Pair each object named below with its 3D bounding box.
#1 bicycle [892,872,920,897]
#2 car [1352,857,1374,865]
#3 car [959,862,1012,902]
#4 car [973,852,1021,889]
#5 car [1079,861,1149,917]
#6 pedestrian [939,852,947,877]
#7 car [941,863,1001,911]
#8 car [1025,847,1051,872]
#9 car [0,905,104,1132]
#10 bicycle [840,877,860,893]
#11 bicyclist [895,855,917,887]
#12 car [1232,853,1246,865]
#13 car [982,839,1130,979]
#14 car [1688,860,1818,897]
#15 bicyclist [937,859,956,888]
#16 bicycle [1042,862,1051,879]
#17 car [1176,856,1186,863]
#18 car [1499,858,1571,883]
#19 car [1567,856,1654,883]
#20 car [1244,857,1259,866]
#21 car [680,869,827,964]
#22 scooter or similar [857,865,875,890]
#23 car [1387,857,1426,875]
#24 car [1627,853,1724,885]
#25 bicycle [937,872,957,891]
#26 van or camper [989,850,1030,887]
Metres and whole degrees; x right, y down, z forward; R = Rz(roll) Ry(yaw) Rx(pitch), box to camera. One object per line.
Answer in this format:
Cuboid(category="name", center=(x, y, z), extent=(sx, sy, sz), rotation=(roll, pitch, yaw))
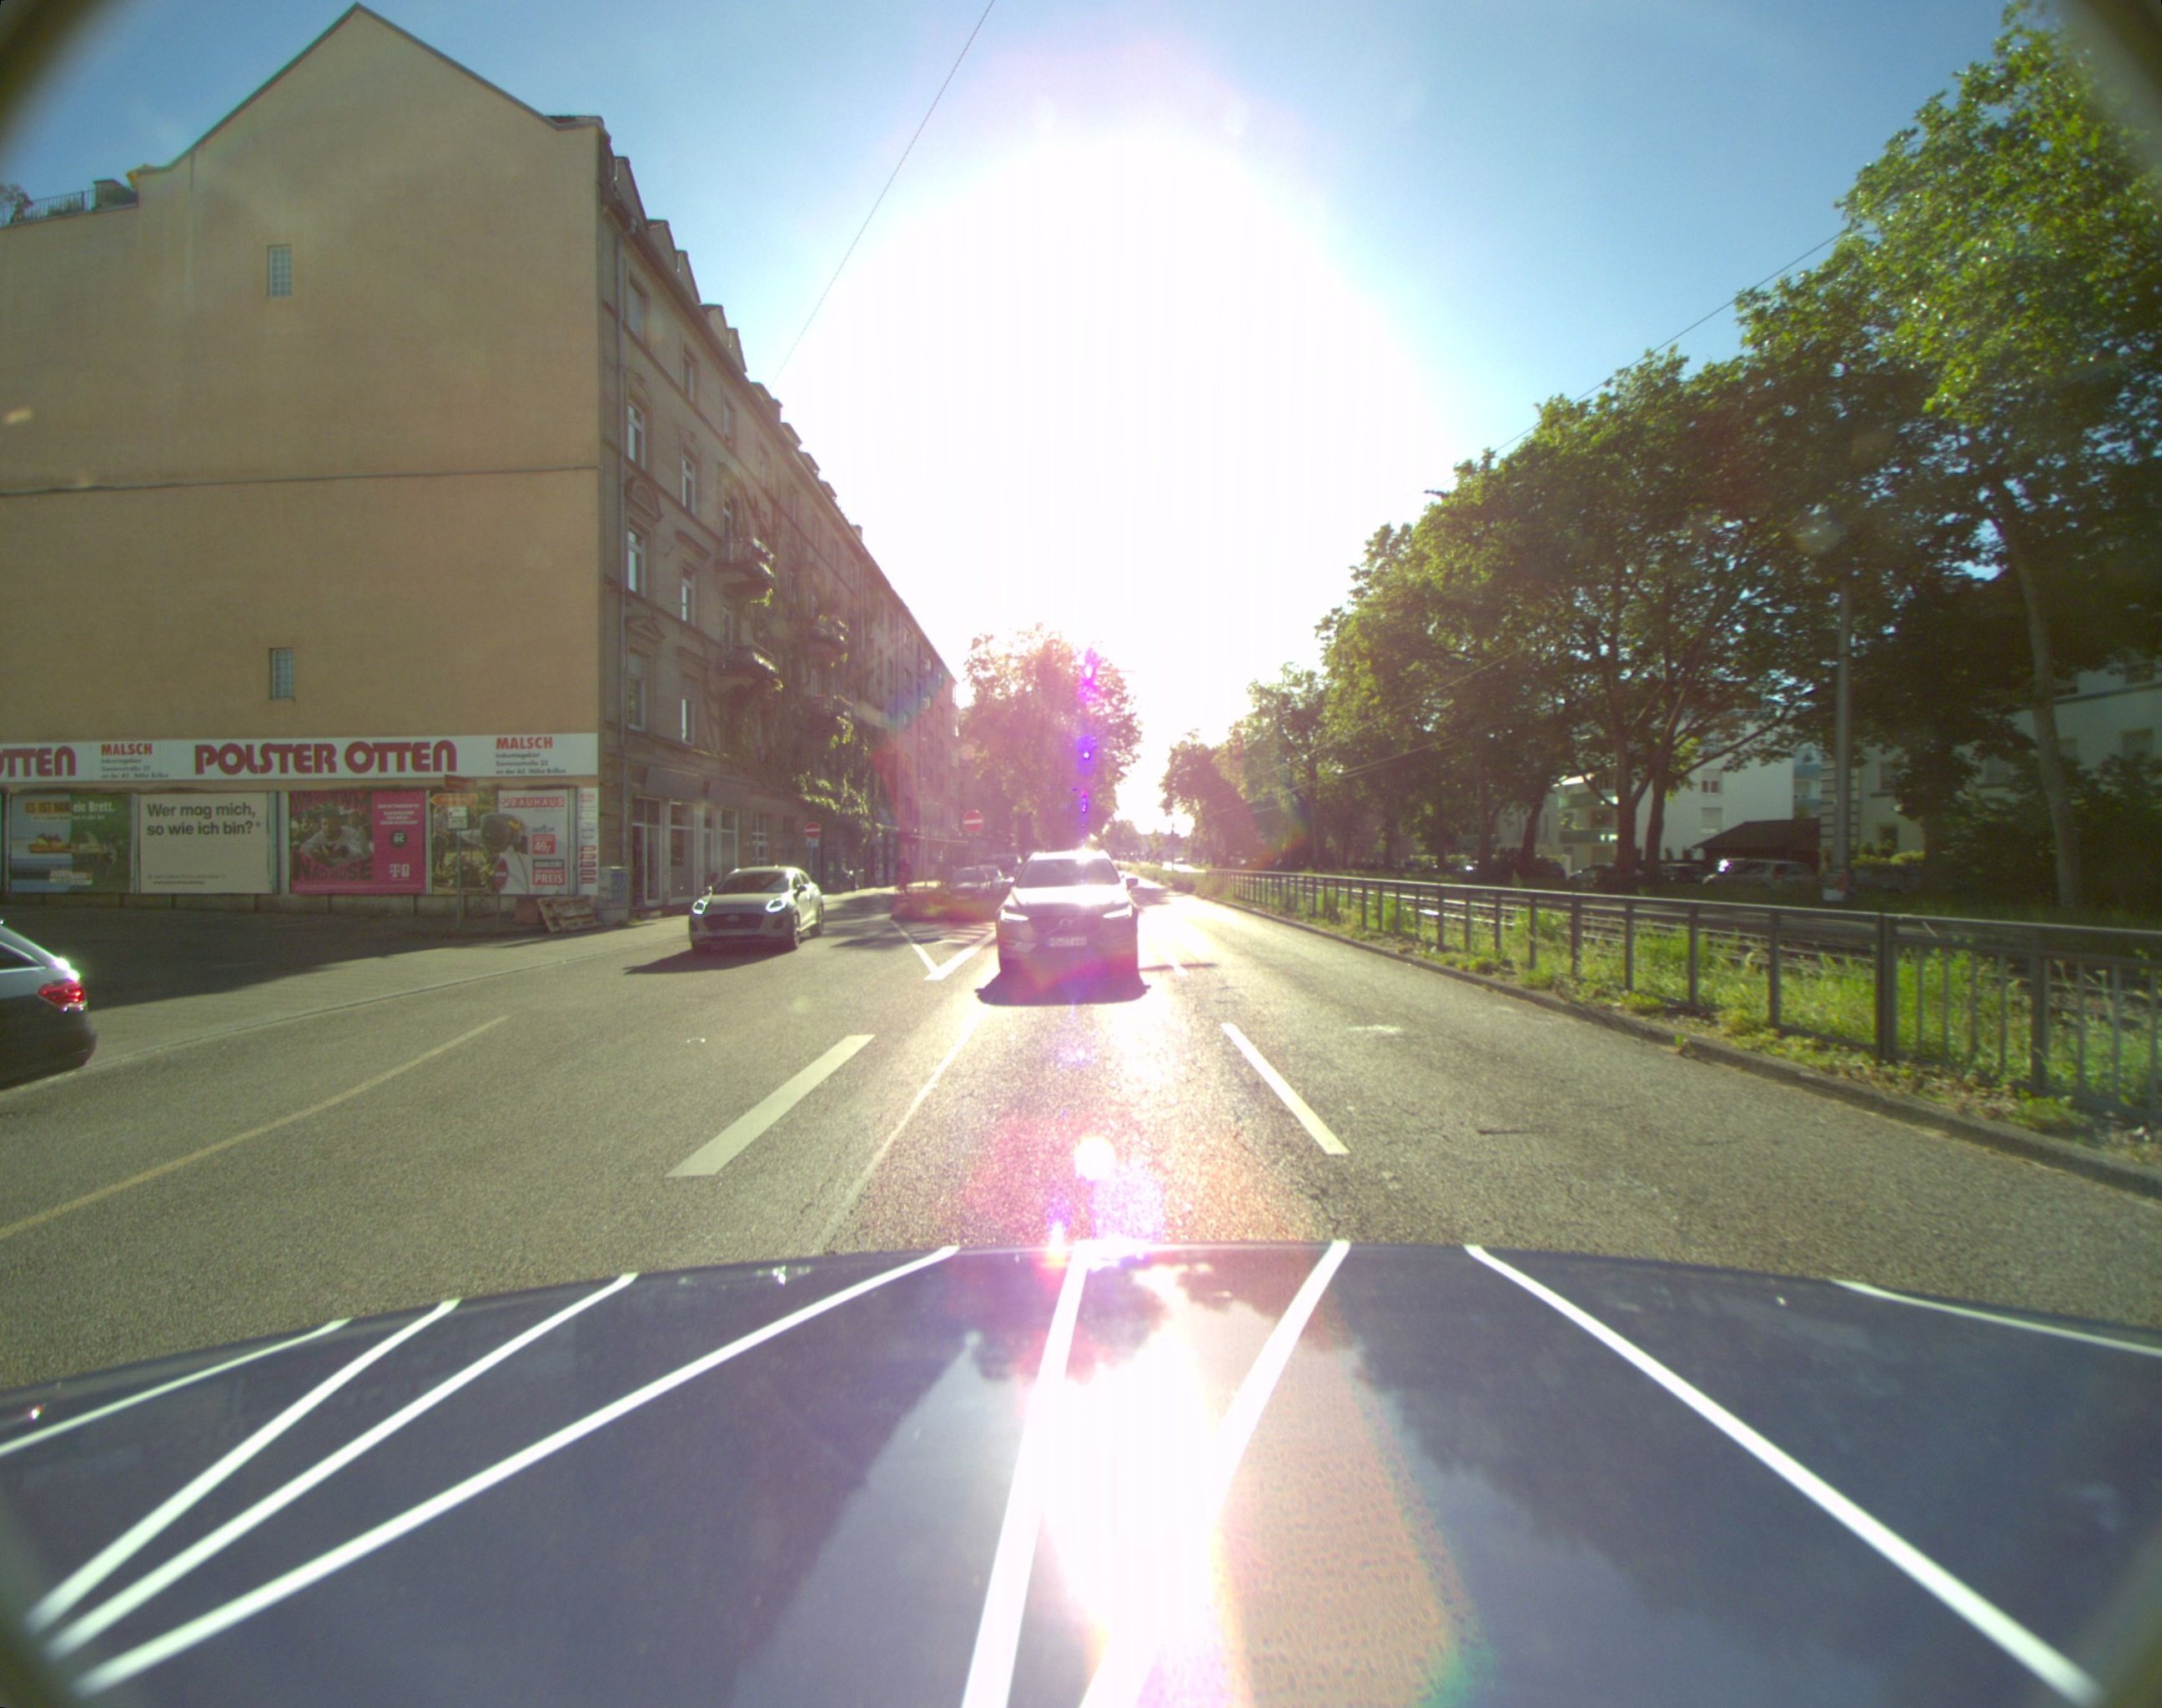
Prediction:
Cuboid(category="bicycle", center=(-8.093, 1.410, 35.211), extent=(0.758, 1.095, 1.954), rotation=(0, 0, 2))
Cuboid(category="car", center=(28.500, 0.703, 76.812), extent=(1.109, 0.871, 3.060), rotation=(0, 0, 1))
Cuboid(category="car", center=(-4.035, 1.138, 32.632), extent=(1.743, 1.508, 3.999), rotation=(-3, 0, -1))
Cuboid(category="car", center=(-4.124, 0.794, 37.859), extent=(1.869, 1.753, 4.000), rotation=(0, 0, 1))
Cuboid(category="car", center=(0.844, 0.927, 21.630), extent=(1.608, 1.445, 3.780), rotation=(0, 0, -3))
Cuboid(category="pedestrian", center=(-10.138, 0.749, 55.750), extent=(0.470, 1.822, 0.516), rotation=(0, 0, 1))
Cuboid(category="car", center=(-4.015, 1.154, 28.181), extent=(1.645, 1.508, 3.999), rotation=(-3, 0, -1))
Cuboid(category="car", center=(-4.277, 0.519, 76.391), extent=(2.079, 2.420, 5.856), rotation=(-1, 0, 1))
Cuboid(category="car", center=(-8.262, 1.105, 3.301), extent=(1.837, 1.478, 4.734), rotation=(2, 0, 1))
Cuboid(category="bicycle", center=(-11.015, 1.457, 36.305), extent=(0.469, 0.701, 1.513), rotation=(0, 0, 1))
Cuboid(category="bicyclist", center=(-8.102, 0.793, 35.182), extent=(0.746, 1.453, 0.951), rotation=(-1, 1, 2))
Cuboid(category="car", center=(28.082, 0.907, 135.445), extent=(1.998, 2.002, 4.002), rotation=(-1, 0, 5))
Cuboid(category="car", center=(-0.265, 0.708, 12.021), extent=(1.876, 1.788, 4.633), rotation=(0, 0, 1))
Cuboid(category="car", center=(28.200, 0.986, 32.096), extent=(1.739, 1.432, 4.319), rotation=(0, 0, 1))
Cuboid(category="bicyclist", center=(-6.881, 0.986, 38.875), extent=(0.678, 1.437, 1.182), rotation=(4, 0, 1))
Cuboid(category="bicycle", center=(-2.593, 1.224, 57.332), extent=(0.466, 1.206, 1.751), rotation=(0, 0, 4))
Cuboid(category="car", center=(24.090, 1.267, 182.744), extent=(1.862, 1.637, 4.460), rotation=(0, 0, -1))
Cuboid(category="car", center=(28.542, 1.011, 47.927), extent=(1.998, 1.444, 4.319), rotation=(0, 0, 1))
Cuboid(category="car", center=(28.547, 0.808, 41.151), extent=(1.644, 1.316, 4.461), rotation=(2, 0, 1))
Cuboid(category="car", center=(28.097, 1.191, 125.489), extent=(1.771, 1.477, 3.688), rotation=(0, 0, 1))
Cuboid(category="car", center=(-6.405, 1.126, 15.381), extent=(1.703, 1.519, 4.377), rotation=(-1, 0, -9))
Cuboid(category="scooter or similar", center=(-10.794, 1.167, 38.034), extent=(0.638, 1.167, 1.731), rotation=(0, 0, -24))
Cuboid(category="car", center=(28.556, 1.046, 66.814), extent=(1.801, 1.464, 4.000), rotation=(0, 0, 1))
Cuboid(category="car", center=(28.381, 0.675, 36.426), extent=(1.779, 1.456, 3.697), rotation=(0, 0, 1))
Cuboid(category="bicycle", center=(-6.858, 1.406, 39.001), extent=(0.651, 0.914, 1.918), rotation=(0, 0, 2))
Cuboid(category="van or camper", center=(-4.019, 0.765, 43.385), extent=(1.888, 2.002, 5.094), rotation=(0, 0, 0))
